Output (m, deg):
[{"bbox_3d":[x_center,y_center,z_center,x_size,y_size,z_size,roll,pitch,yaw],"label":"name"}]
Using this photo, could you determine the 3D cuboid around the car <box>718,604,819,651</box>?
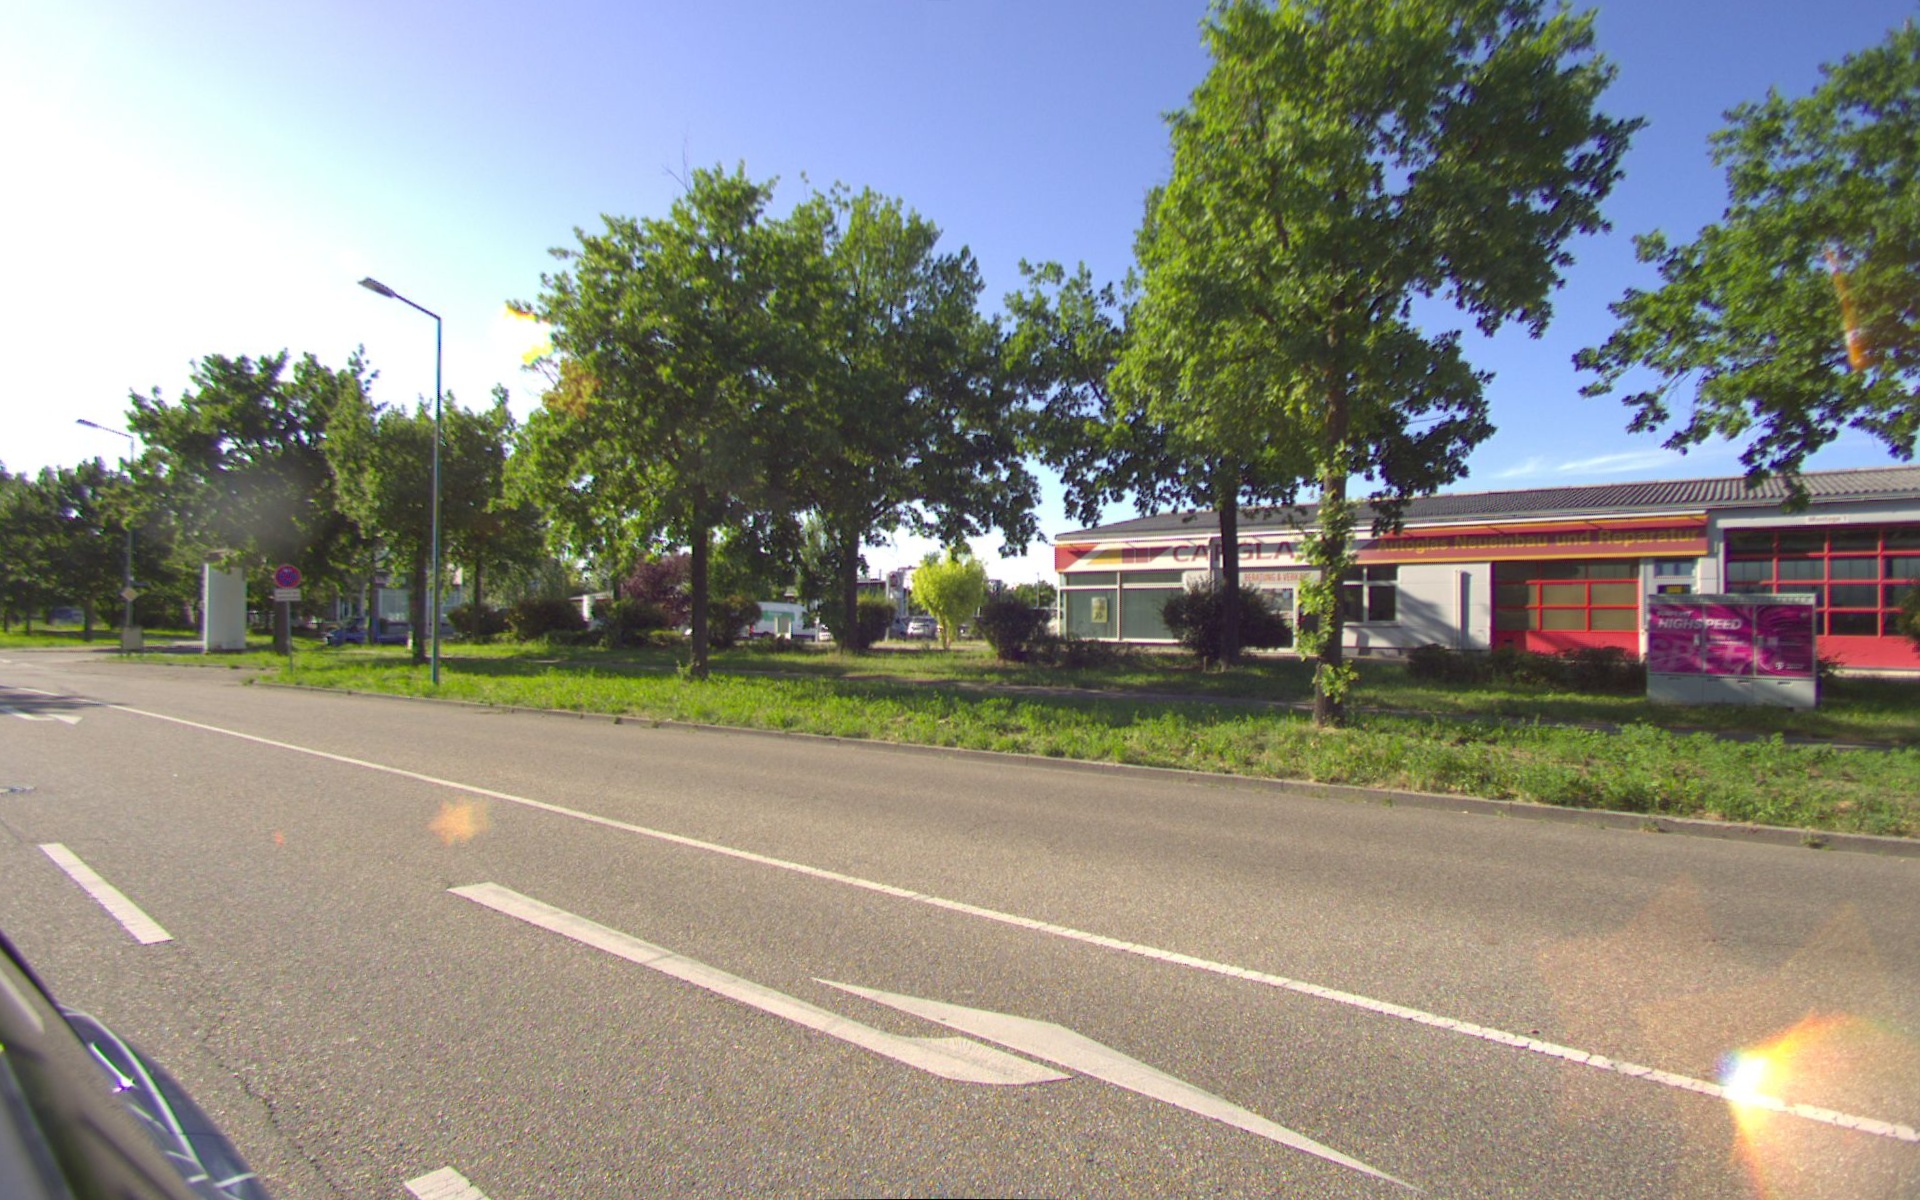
[{"bbox_3d":[-11.454,1.594,61.007,2.406,2.574,5.952,-1,0,36],"label":"car"}]

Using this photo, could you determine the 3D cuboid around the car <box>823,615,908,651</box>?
[{"bbox_3d":[-5.148,1.764,55.795,1.989,1.795,4.583,-1,0,40],"label":"car"}]

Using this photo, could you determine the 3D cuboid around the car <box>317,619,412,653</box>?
[{"bbox_3d":[-35.973,2.151,61.242,1.999,1.847,4.578,-1,0,41],"label":"car"}]

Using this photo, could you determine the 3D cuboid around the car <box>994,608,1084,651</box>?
[{"bbox_3d":[3.210,1.154,40.610,1.734,1.583,3.769,-3,-1,40],"label":"car"}]

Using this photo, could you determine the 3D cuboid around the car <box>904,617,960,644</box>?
[{"bbox_3d":[-1.873,2.046,68.629,1.761,1.684,3.811,-1,0,40],"label":"car"}]
